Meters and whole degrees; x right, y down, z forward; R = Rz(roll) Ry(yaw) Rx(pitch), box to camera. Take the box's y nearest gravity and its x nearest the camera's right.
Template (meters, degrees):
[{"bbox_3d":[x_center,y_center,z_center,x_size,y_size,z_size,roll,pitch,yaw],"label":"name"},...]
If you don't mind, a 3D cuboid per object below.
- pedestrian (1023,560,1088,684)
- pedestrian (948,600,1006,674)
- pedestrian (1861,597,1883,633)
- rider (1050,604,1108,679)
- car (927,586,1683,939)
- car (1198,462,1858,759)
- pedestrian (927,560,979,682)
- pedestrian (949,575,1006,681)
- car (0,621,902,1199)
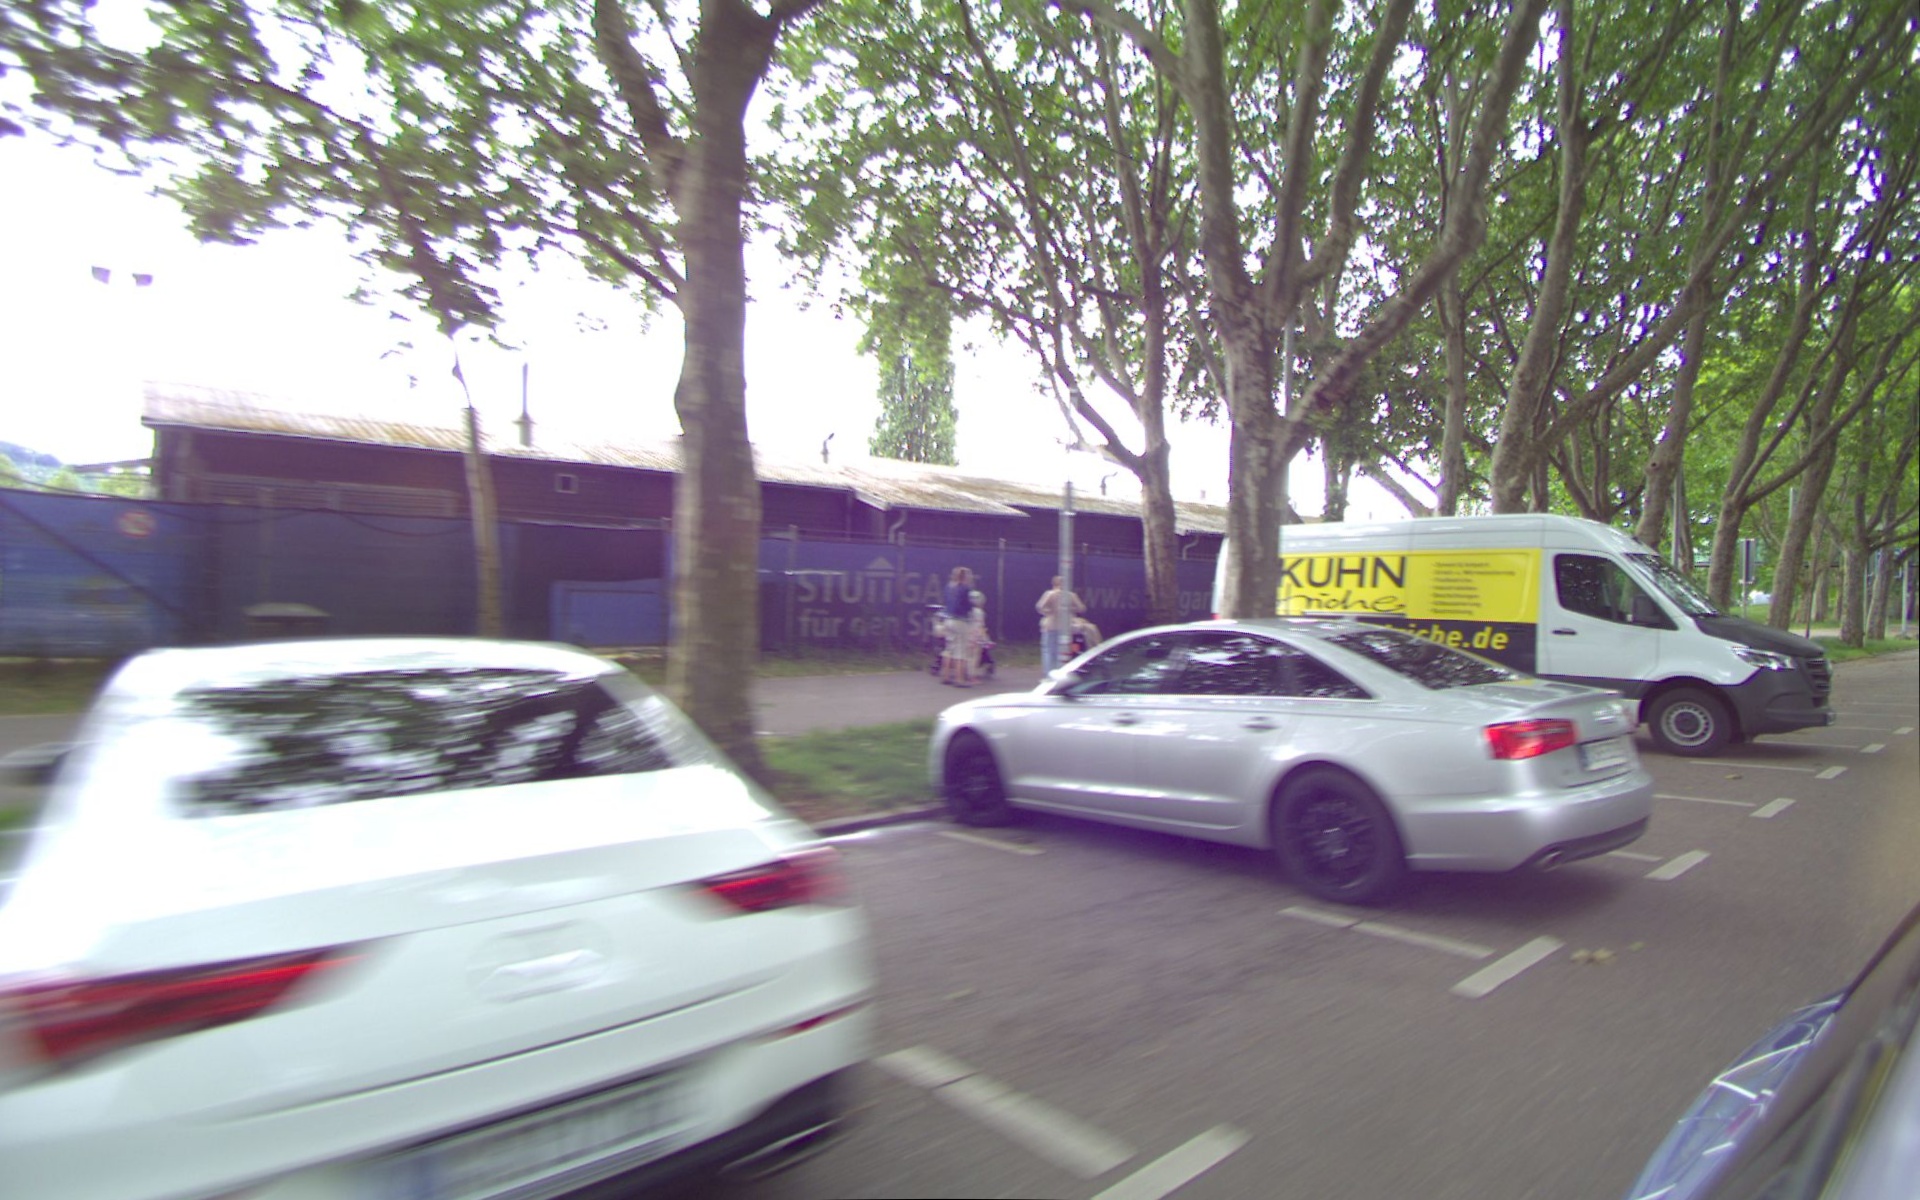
[{"bbox_3d":[1.409,0.309,14.926,0.609,1.762,0.641,2,2,-37],"label":"pedestrian"},{"bbox_3d":[0.257,0.551,15.387,0.583,1.061,0.588,1,2,-41],"label":"pedestrian"},{"bbox_3d":[52.553,0.875,58.320,0.864,2.039,0.712,1,0,-32],"label":"pedestrian"},{"bbox_3d":[1.810,0.620,15.370,0.577,1.061,0.594,1,2,-37],"label":"rider"},{"bbox_3d":[1.732,0.766,6.442,1.583,1.464,4.368,0,-3,-38],"label":"car"},{"bbox_3d":[6.471,0.068,12.595,2.091,2.729,6.890,0,0,-42],"label":"car"},{"bbox_3d":[-0.099,0.285,14.188,0.422,1.665,0.519,1,2,-39],"label":"pedestrian"},{"bbox_3d":[0.248,0.389,14.527,0.557,1.459,0.519,1,2,-39],"label":"pedestrian"},{"bbox_3d":[-2.142,0.792,3.332,1.669,1.318,4.329,0,0,-40],"label":"car"}]
